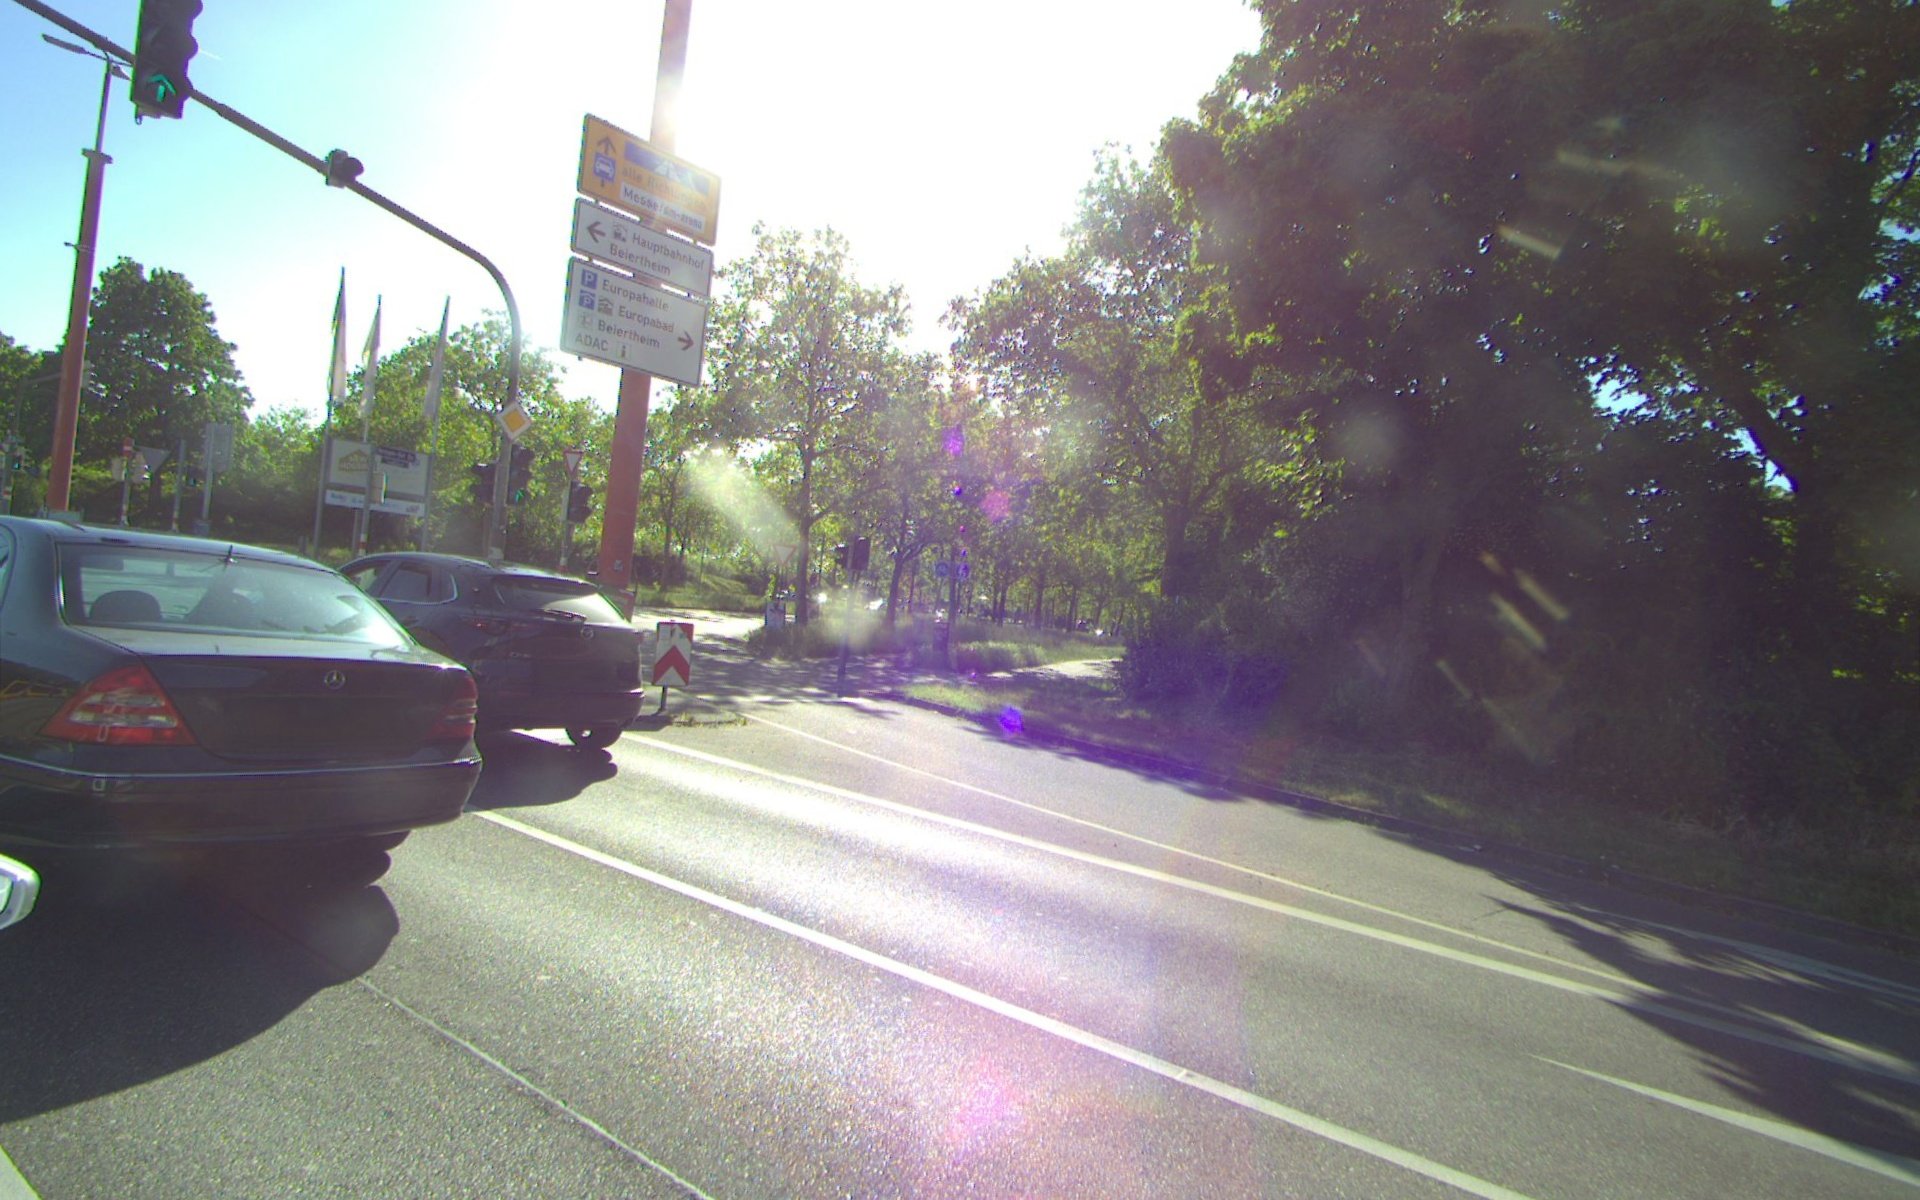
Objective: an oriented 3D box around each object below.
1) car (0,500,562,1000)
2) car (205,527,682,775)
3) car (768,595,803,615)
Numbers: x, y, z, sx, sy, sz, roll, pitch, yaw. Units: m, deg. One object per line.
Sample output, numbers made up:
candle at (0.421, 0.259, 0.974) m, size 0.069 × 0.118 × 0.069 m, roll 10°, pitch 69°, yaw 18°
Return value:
car at (-4.079, 0.344, 4.862) m, size 4.126 × 1.472 × 1.716 m, roll 7°, pitch 0°, yaw 30°
car at (-4.646, 0.363, 8.876) m, size 4.157 × 1.525 × 1.771 m, roll 6°, pitch -2°, yaw 33°
car at (-17.425, 0.473, 100.574) m, size 1.831 × 1.534 × 4.143 m, roll 7°, pitch -2°, yaw 13°
